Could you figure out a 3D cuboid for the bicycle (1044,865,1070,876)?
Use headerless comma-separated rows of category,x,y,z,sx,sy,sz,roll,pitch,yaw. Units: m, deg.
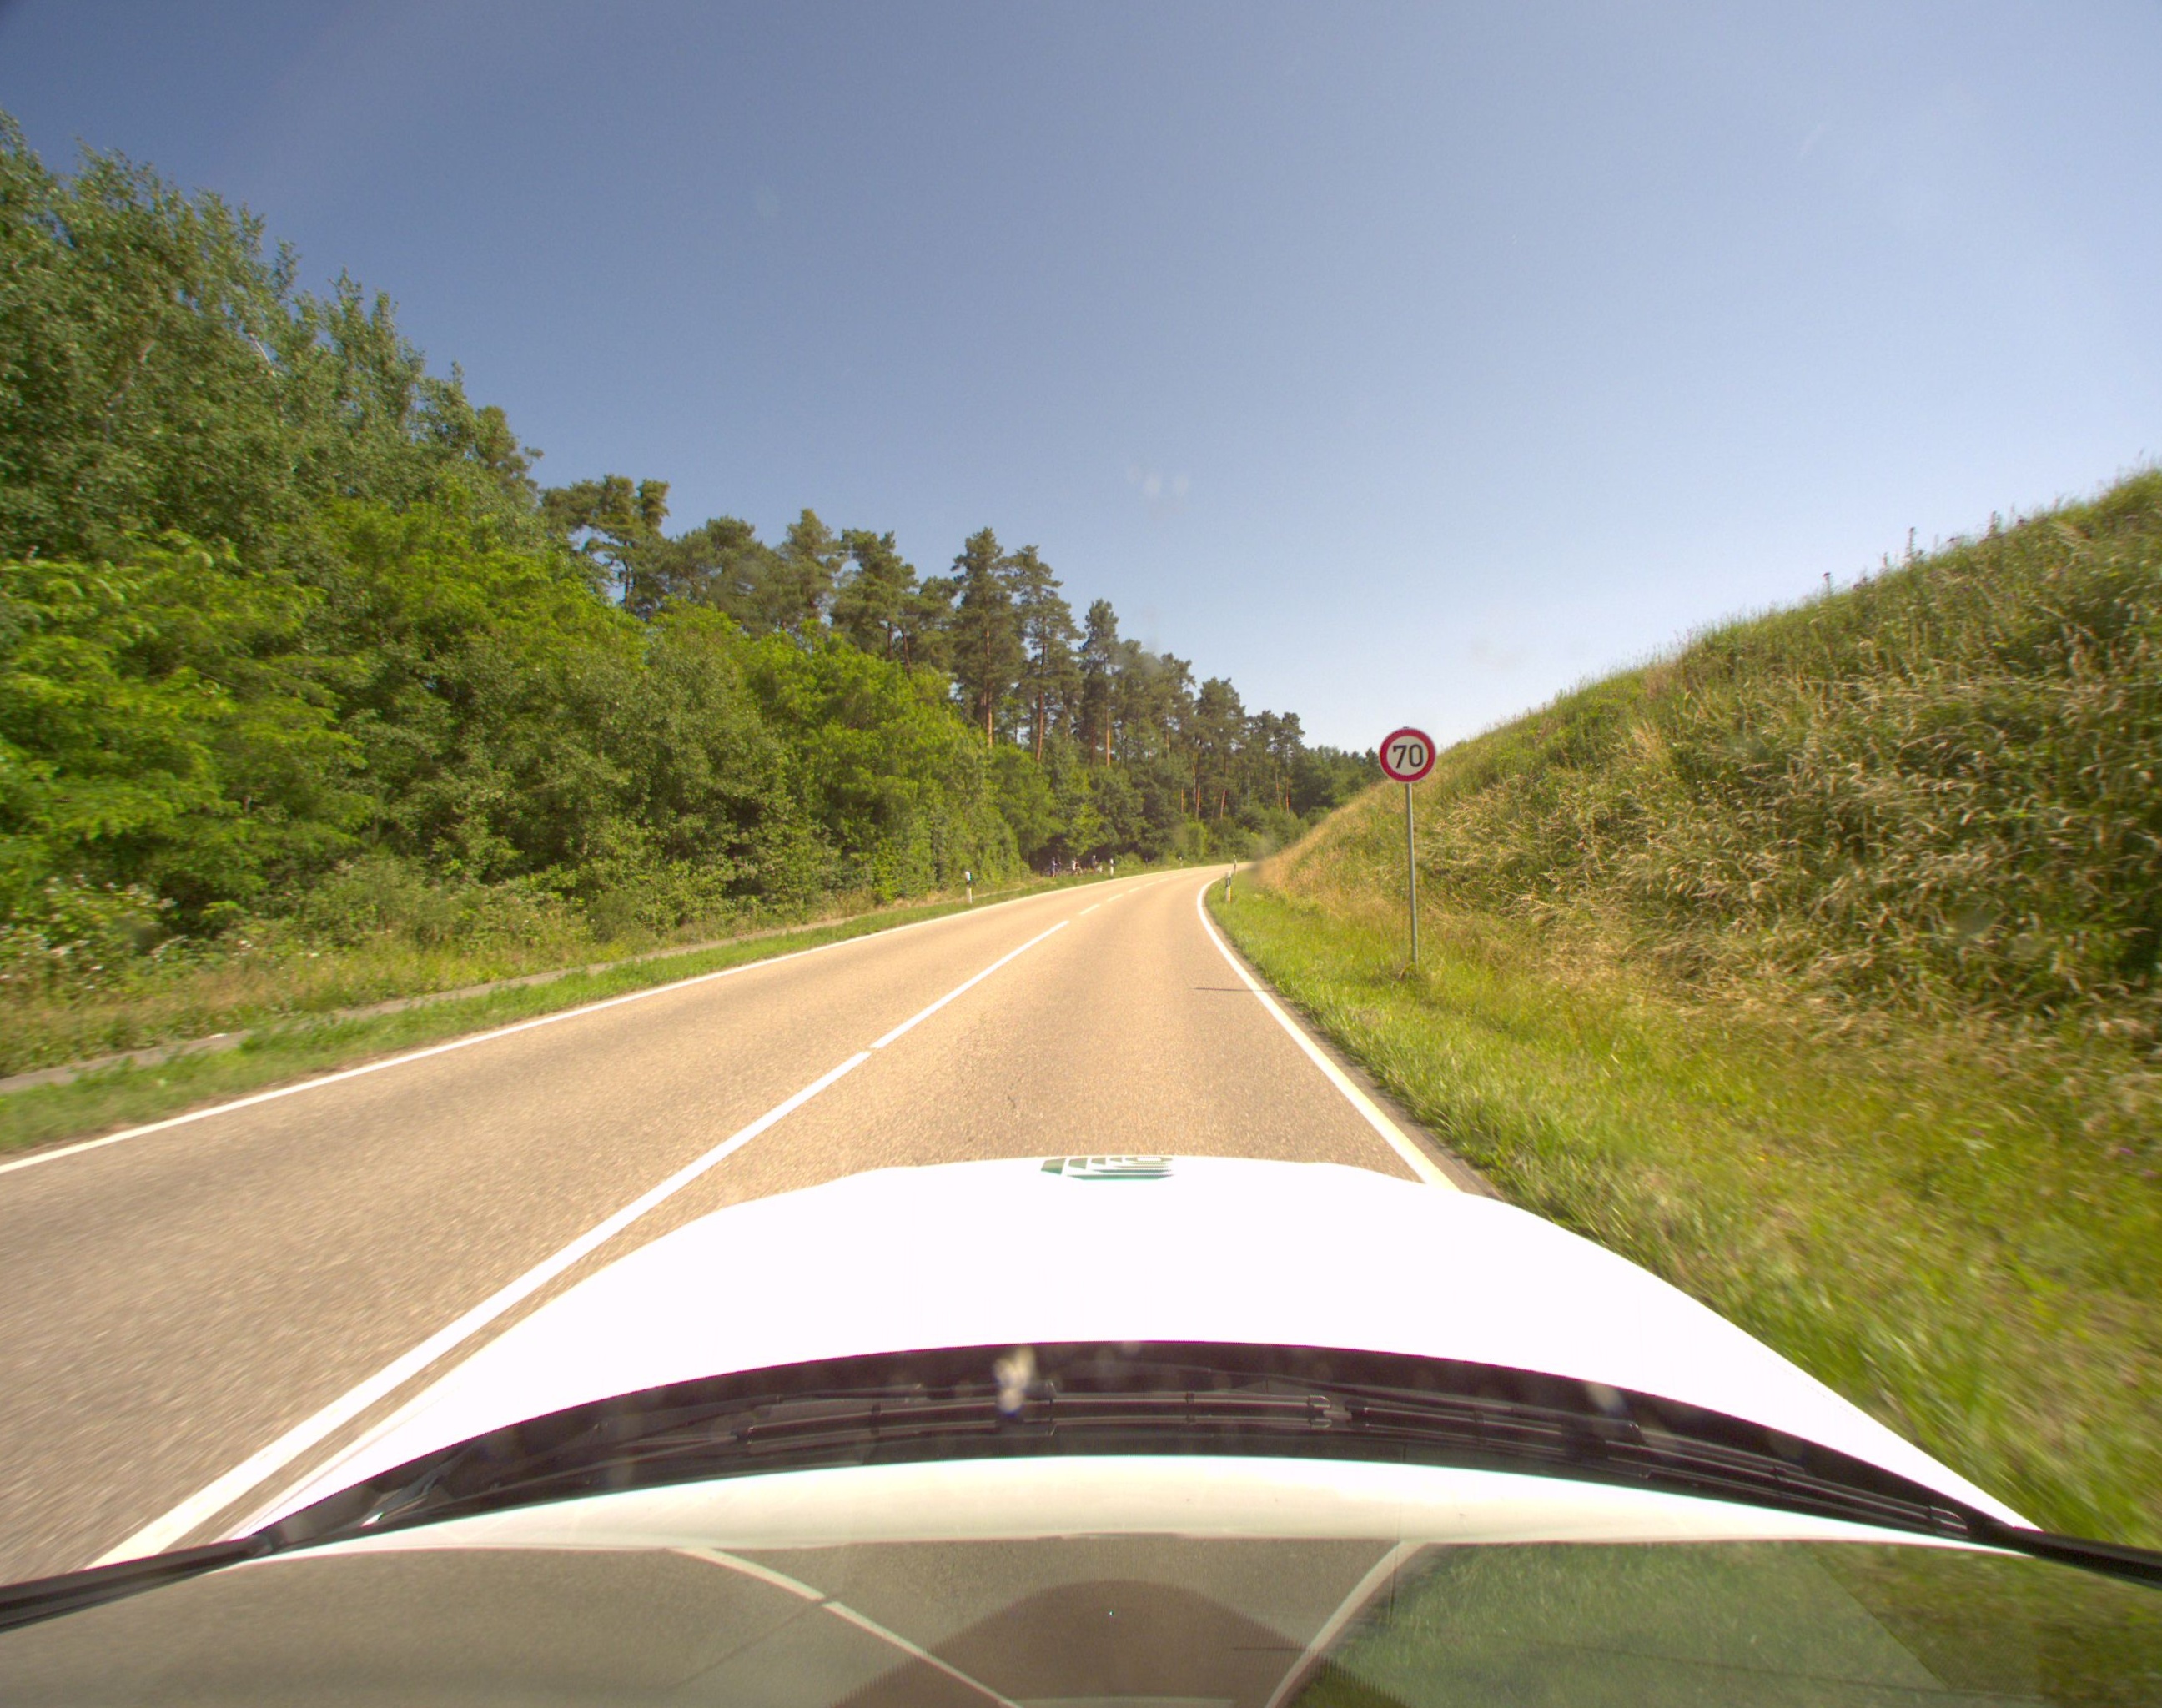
bicycle,-1.900,1.304,63.822,1.991,0.829,0.600,0,-1,-30

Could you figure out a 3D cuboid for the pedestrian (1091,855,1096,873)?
pedestrian,1.104,0.871,71.915,0.282,1.538,0.392,-2,-1,12

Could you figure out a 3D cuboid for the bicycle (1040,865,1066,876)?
bicycle,-2.138,1.286,62.677,1.991,0.829,0.600,0,-1,-30

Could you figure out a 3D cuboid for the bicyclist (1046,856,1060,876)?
bicyclist,-2.139,0.936,62.691,0.874,1.545,0.600,0,-1,-30

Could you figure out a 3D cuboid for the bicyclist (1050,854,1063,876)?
bicyclist,-1.905,0.836,63.824,0.853,1.701,0.600,0,-1,-30

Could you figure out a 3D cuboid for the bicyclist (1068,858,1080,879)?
bicyclist,-0.562,1.167,67.524,0.790,1.719,0.601,0,-1,-23

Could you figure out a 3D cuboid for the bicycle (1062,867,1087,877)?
bicycle,-0.540,1.518,67.534,1.987,0.829,0.601,0,-1,-23

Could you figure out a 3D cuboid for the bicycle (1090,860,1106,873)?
bicycle,1.511,1.123,72.030,0.575,1.086,1.456,0,2,45
